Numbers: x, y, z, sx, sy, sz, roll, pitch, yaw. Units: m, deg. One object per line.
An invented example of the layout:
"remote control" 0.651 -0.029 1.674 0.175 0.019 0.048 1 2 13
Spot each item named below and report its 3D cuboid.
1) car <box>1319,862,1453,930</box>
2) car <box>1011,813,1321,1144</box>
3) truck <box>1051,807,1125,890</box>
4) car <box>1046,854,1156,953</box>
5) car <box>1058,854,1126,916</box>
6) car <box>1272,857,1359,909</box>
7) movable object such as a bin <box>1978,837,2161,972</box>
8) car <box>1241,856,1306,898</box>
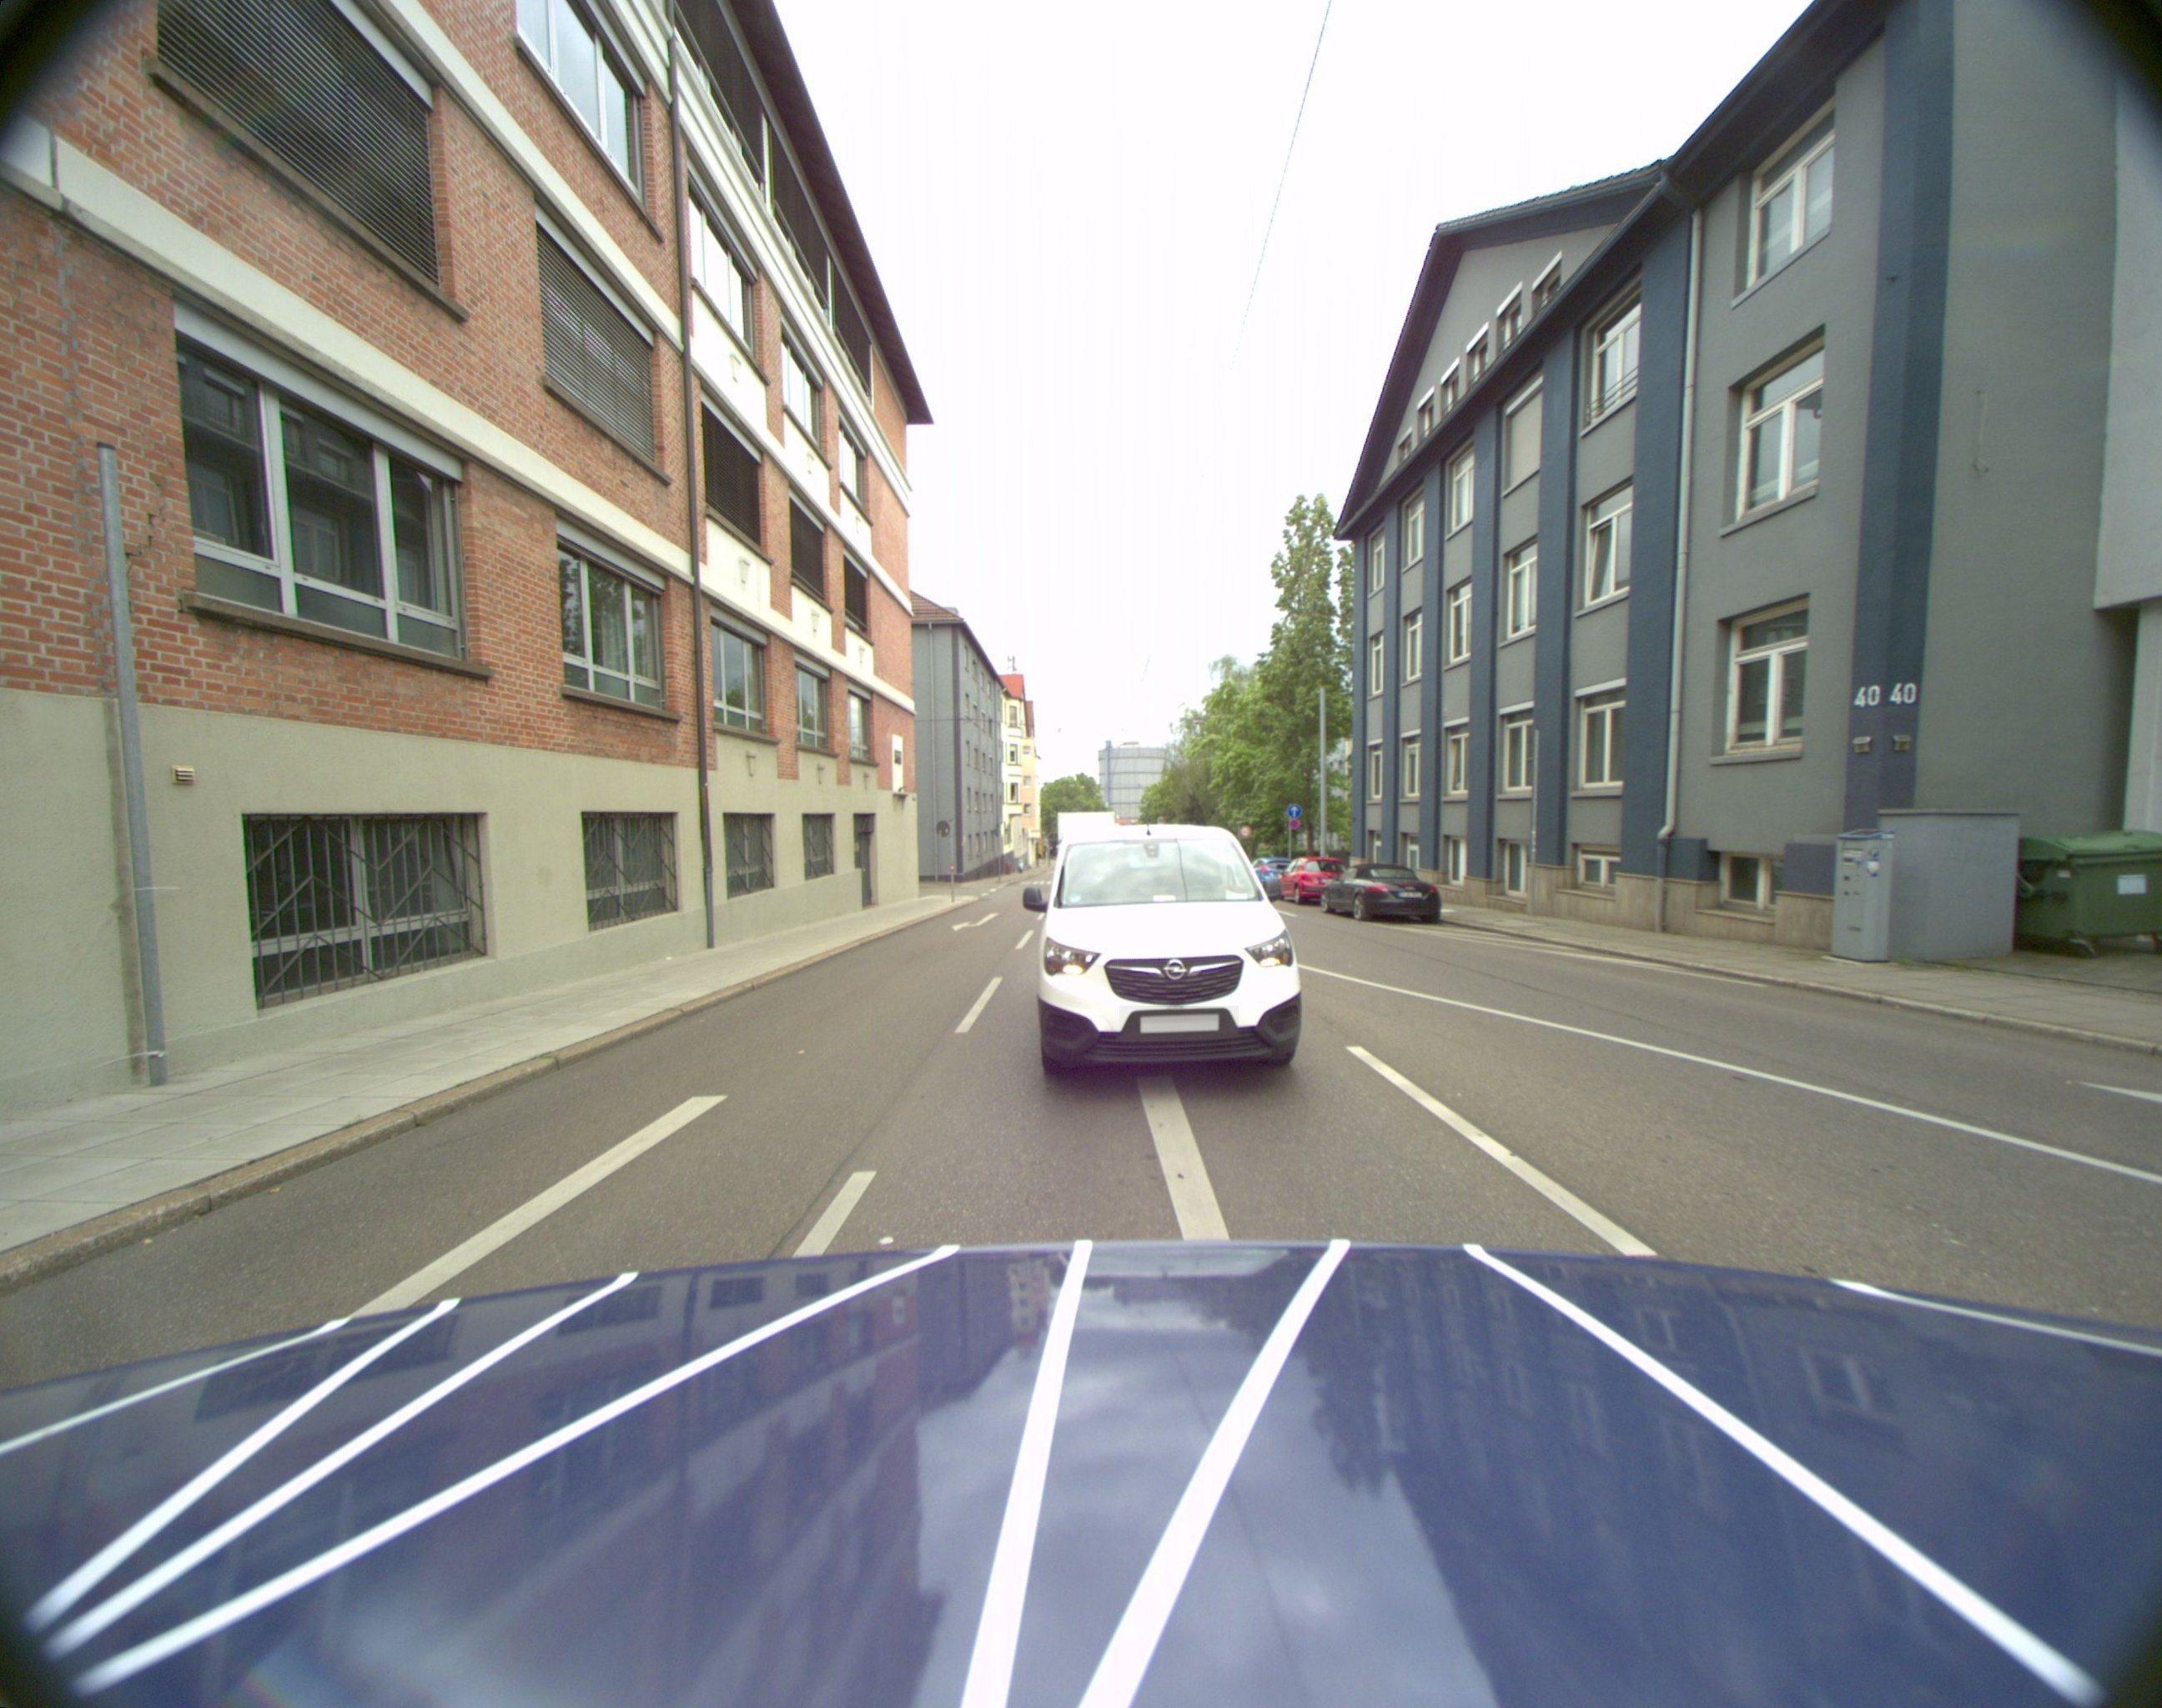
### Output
"car" 7.235 0.946 18.464 1.801 1.384 3.729 0 1 1
"car" 0.527 0.710 6.435 1.739 1.875 3.999 -2 1 1
"truck" 0.360 -0.282 36.579 2.969 3.409 8.879 -2 1 1
"car" 0.353 0.808 14.388 1.739 1.519 3.999 -2 1 1
"car" 0.315 0.819 21.881 1.739 1.519 3.999 -2 1 1
"car" 7.405 0.866 24.340 1.644 1.441 3.729 -2 1 1
"movable object such as a bin" 12.078 0.569 9.183 1.229 1.498 1.040 -2 1 1
"car" 7.472 0.838 29.807 1.644 1.441 3.729 -2 1 1
